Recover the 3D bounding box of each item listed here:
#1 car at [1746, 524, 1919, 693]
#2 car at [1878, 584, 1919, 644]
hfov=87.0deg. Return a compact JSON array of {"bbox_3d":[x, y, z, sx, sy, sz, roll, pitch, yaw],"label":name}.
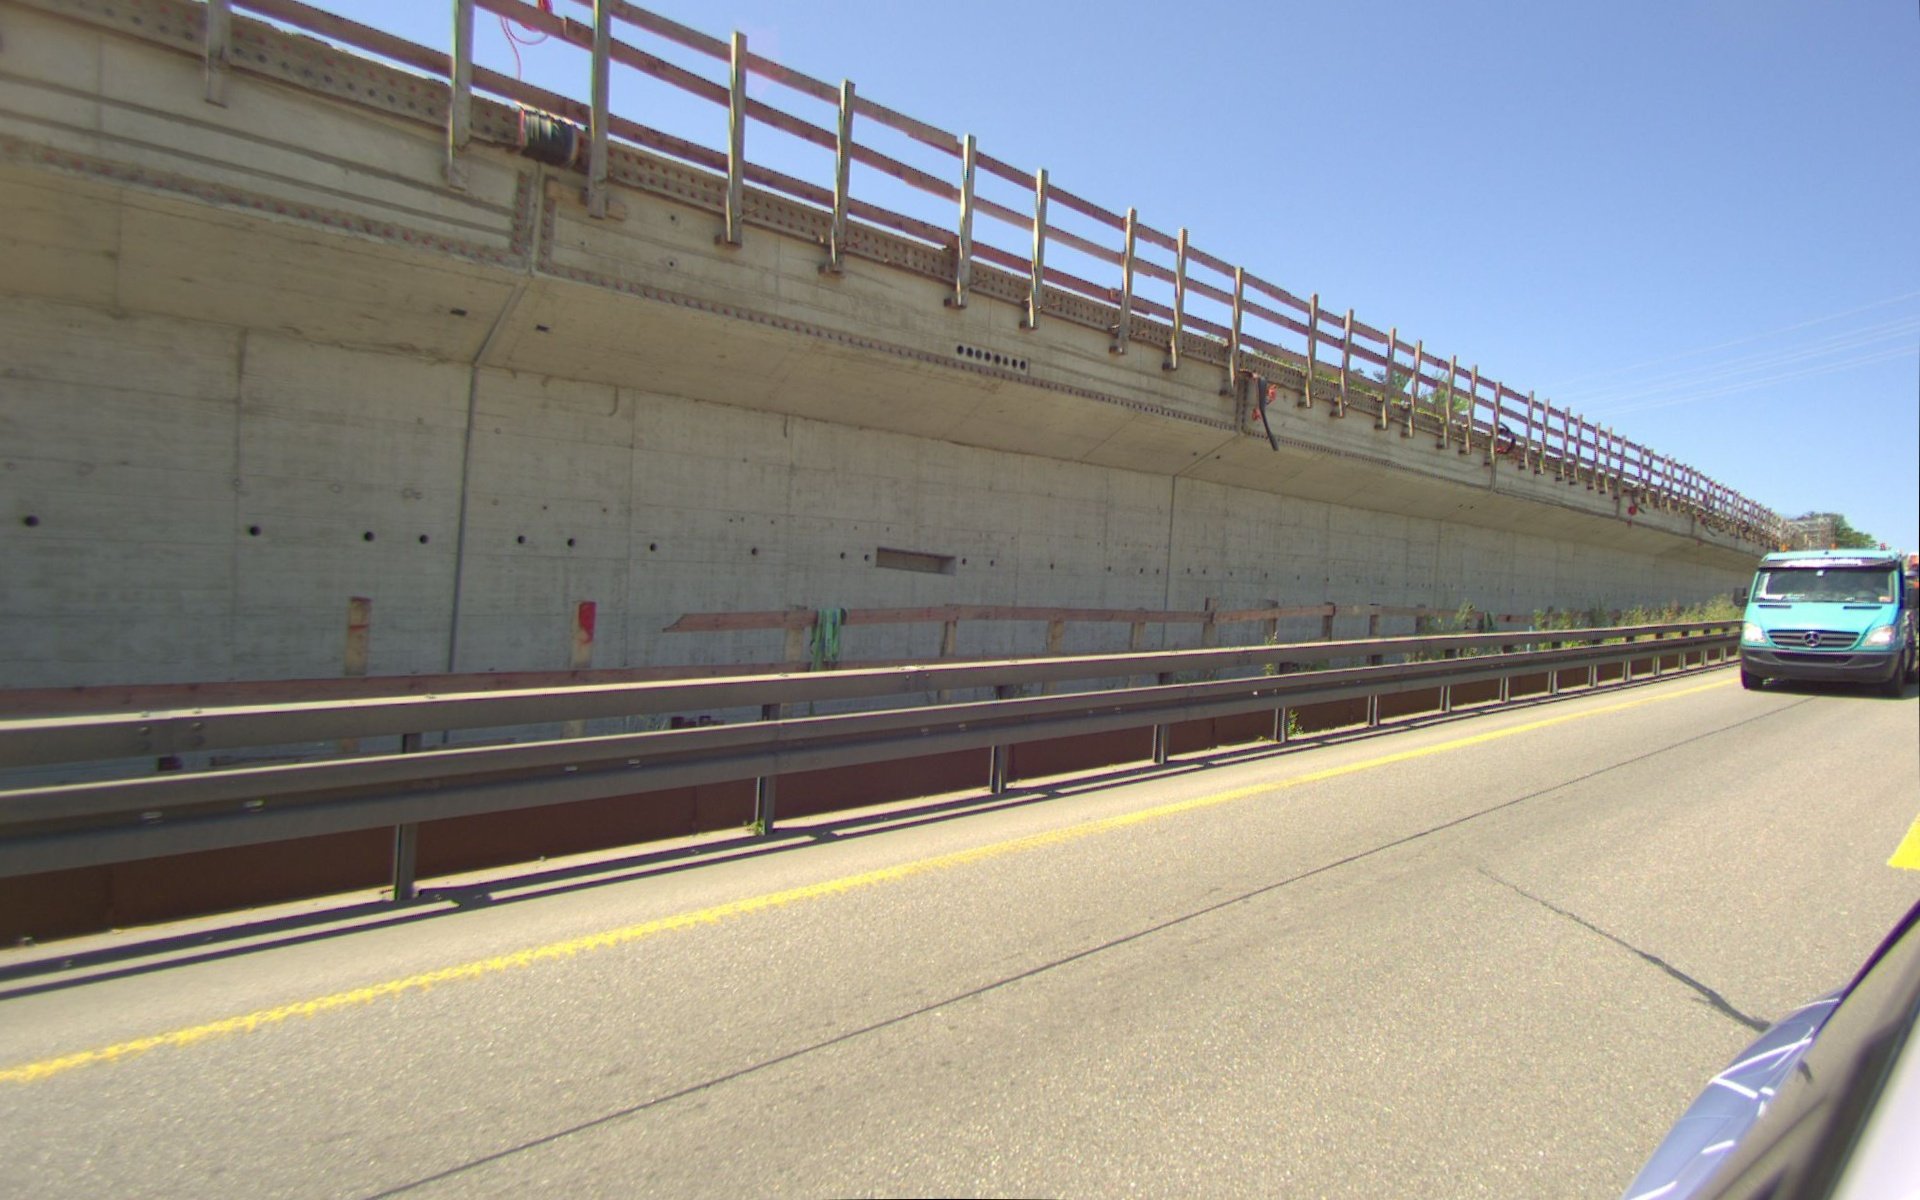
[{"bbox_3d":[15.665,0.101,17.608,7.087,2.411,1.966,0,1,-43],"label":"car"},{"bbox_3d":[28.486,0.371,29.832,3.934,1.681,1.856,-1,0,-44],"label":"car"}]
